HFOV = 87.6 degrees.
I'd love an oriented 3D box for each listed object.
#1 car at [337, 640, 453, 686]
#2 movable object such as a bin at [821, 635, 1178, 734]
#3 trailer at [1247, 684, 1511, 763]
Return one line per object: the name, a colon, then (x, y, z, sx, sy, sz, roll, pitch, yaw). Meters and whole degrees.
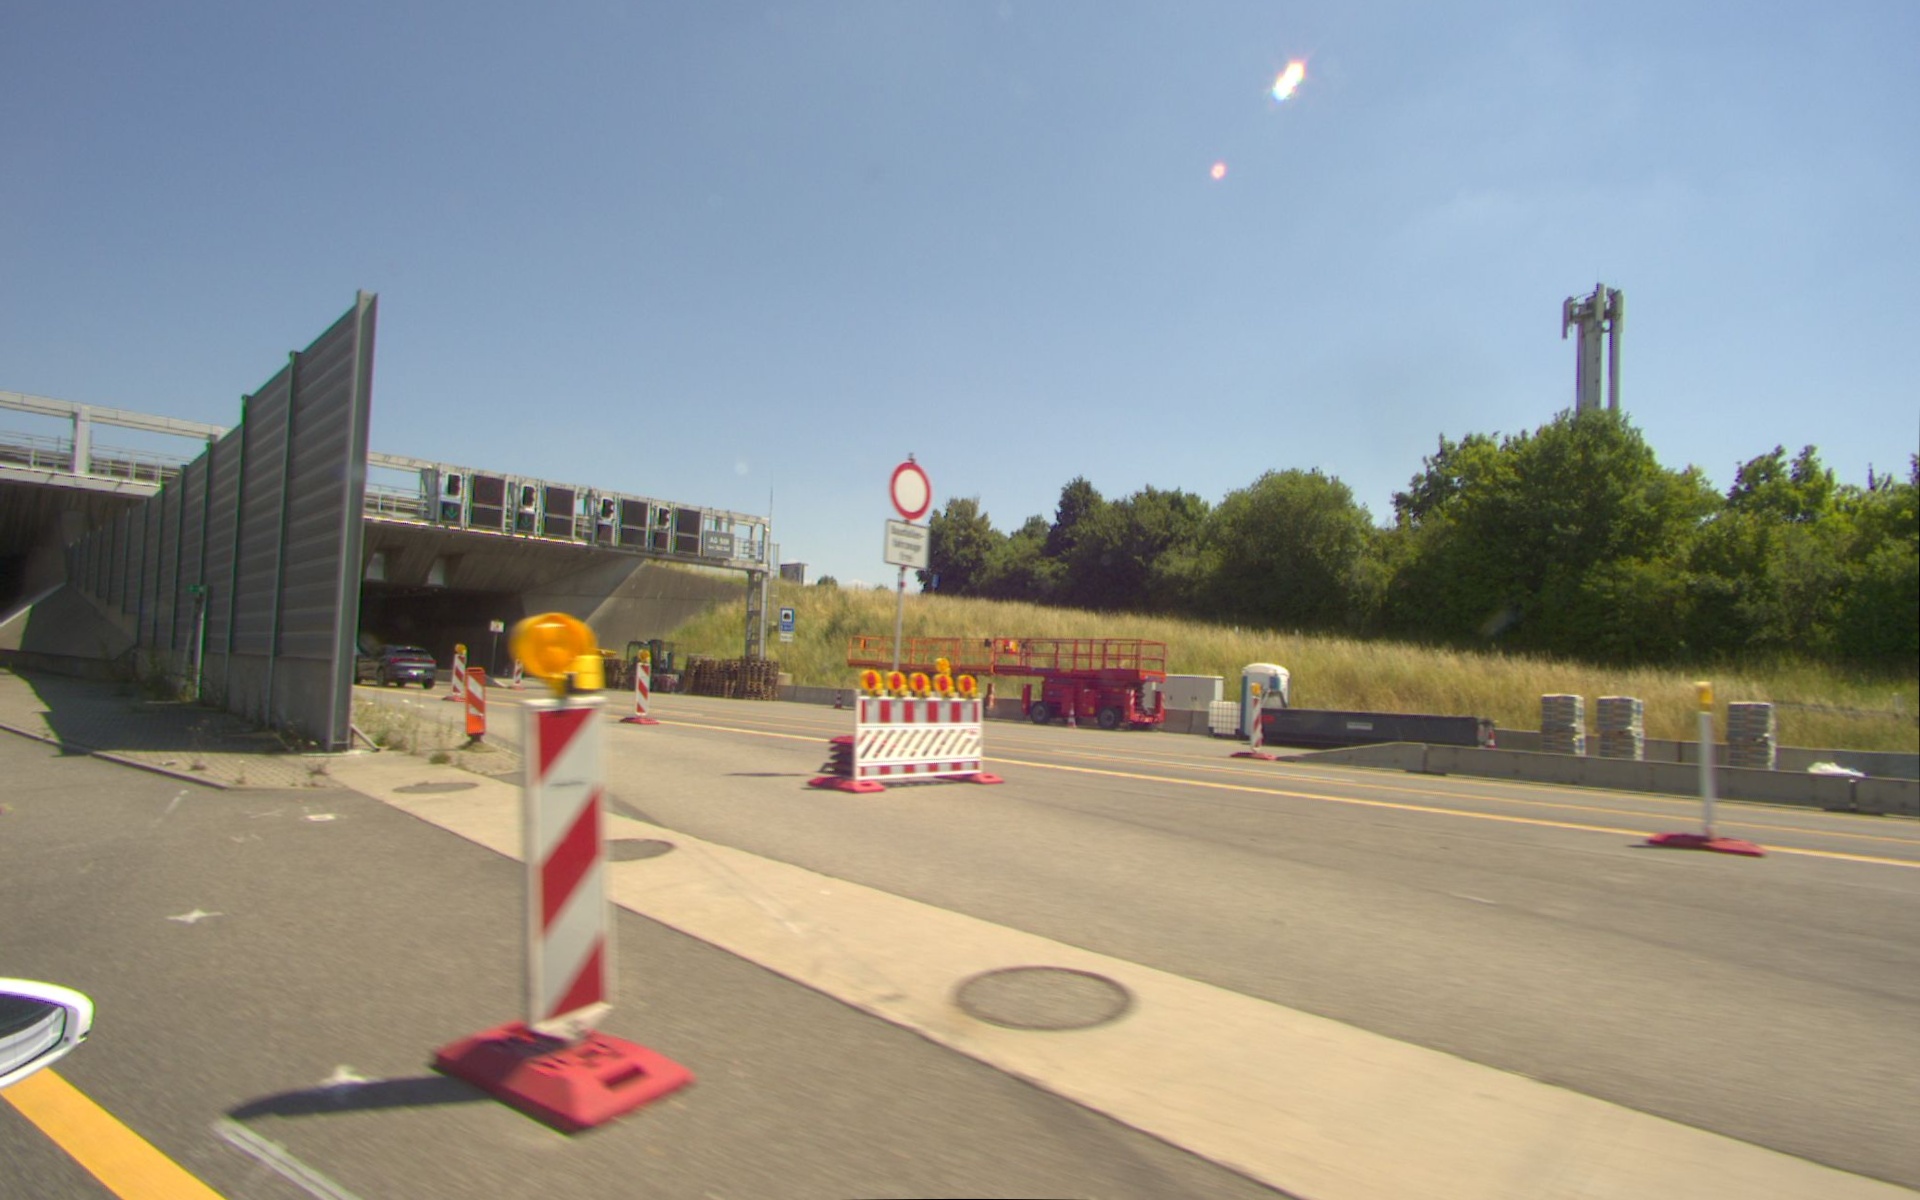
car: (-21.036, 2.335, 37.244, 4.617, 1.503, 1.990, 0, -5, 37)
movable object such as a bin: (0.870, 2.914, 37.685, 14.525, 3.048, 3.100, -1, -3, 40)
trailer: (11.200, 3.213, 26.980, 6.152, 1.588, 2.589, 0, -3, 36)
